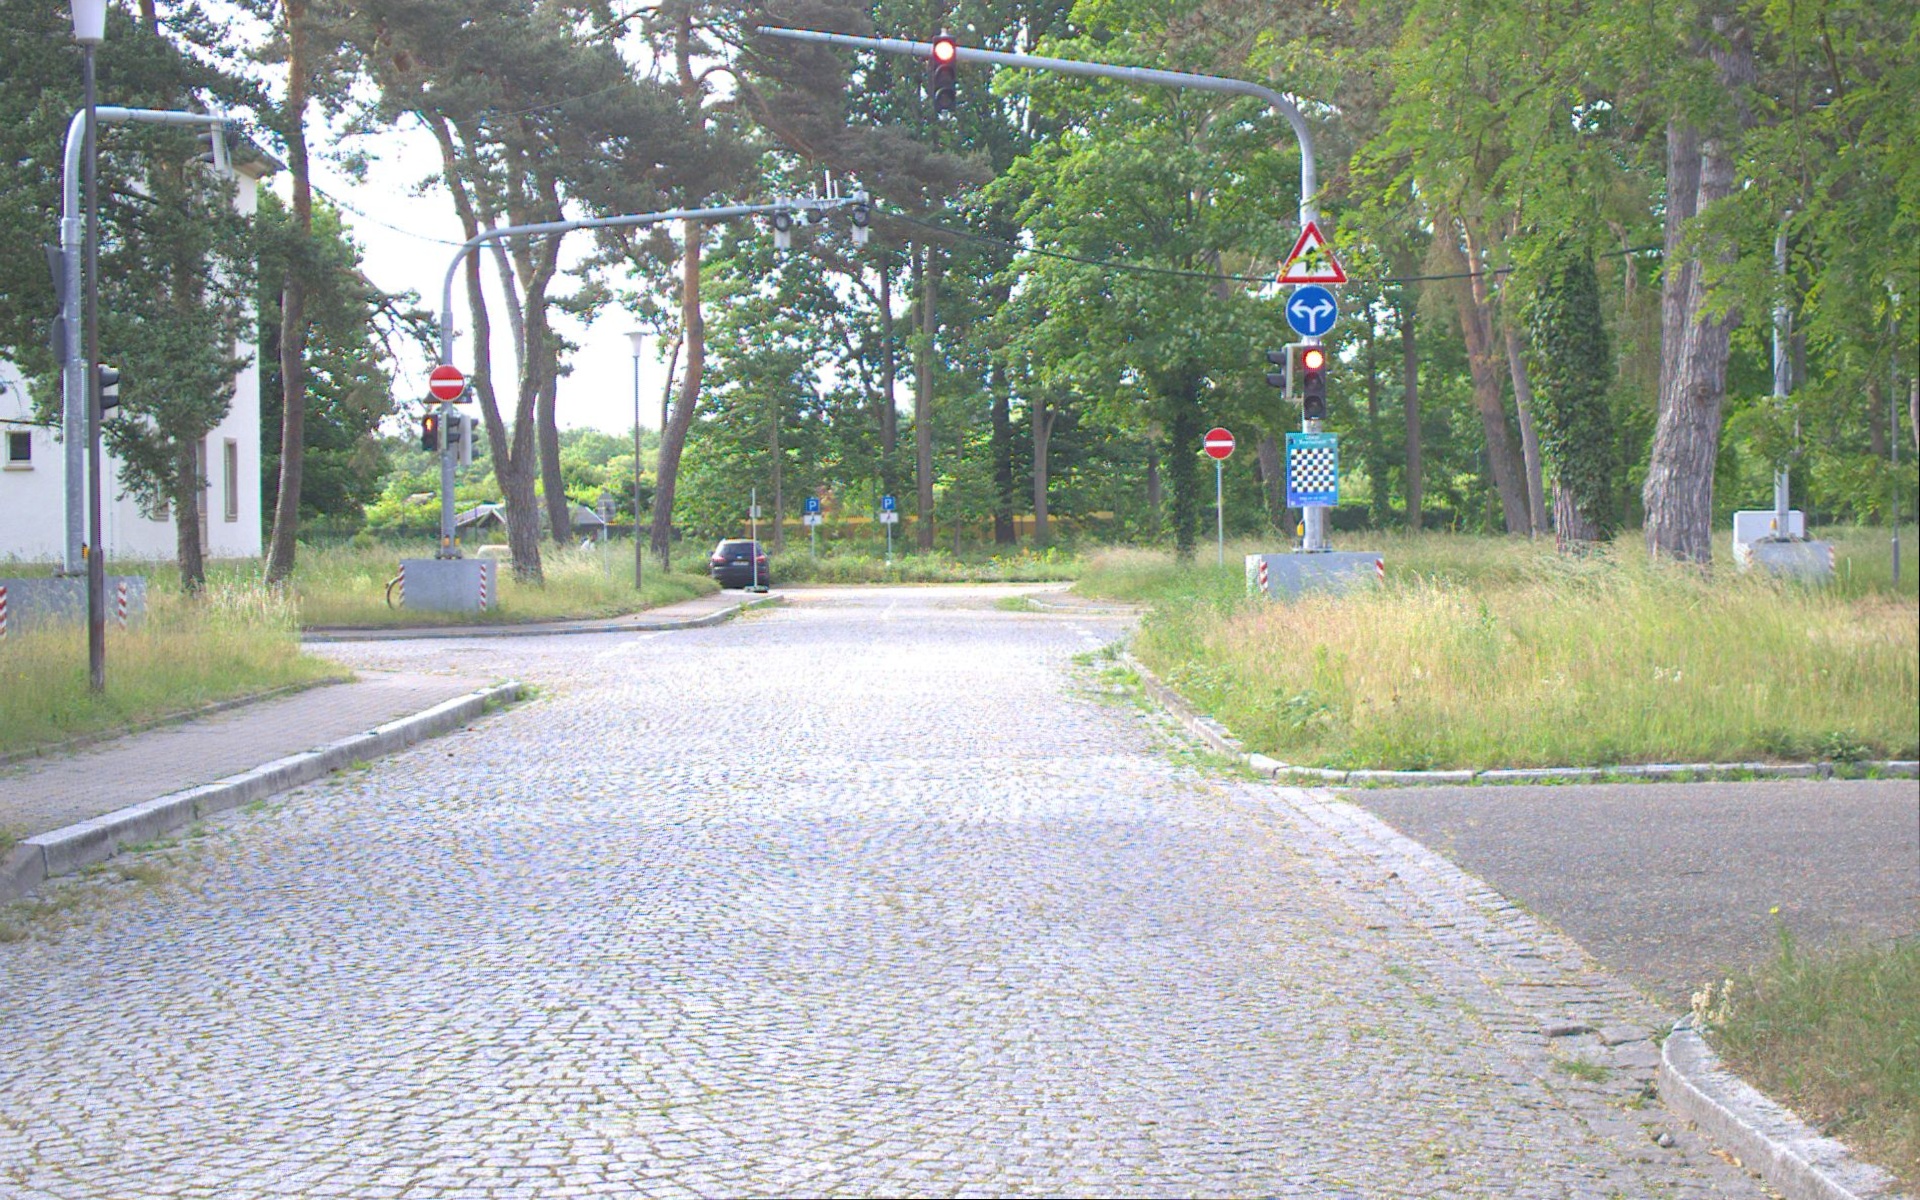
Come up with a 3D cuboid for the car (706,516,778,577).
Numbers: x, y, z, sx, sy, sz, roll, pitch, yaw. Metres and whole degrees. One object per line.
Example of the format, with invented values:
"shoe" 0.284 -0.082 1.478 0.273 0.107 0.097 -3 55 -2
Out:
"car" -6.802 -1.694 107.635 2.056 1.840 4.000 -1 1 -1
